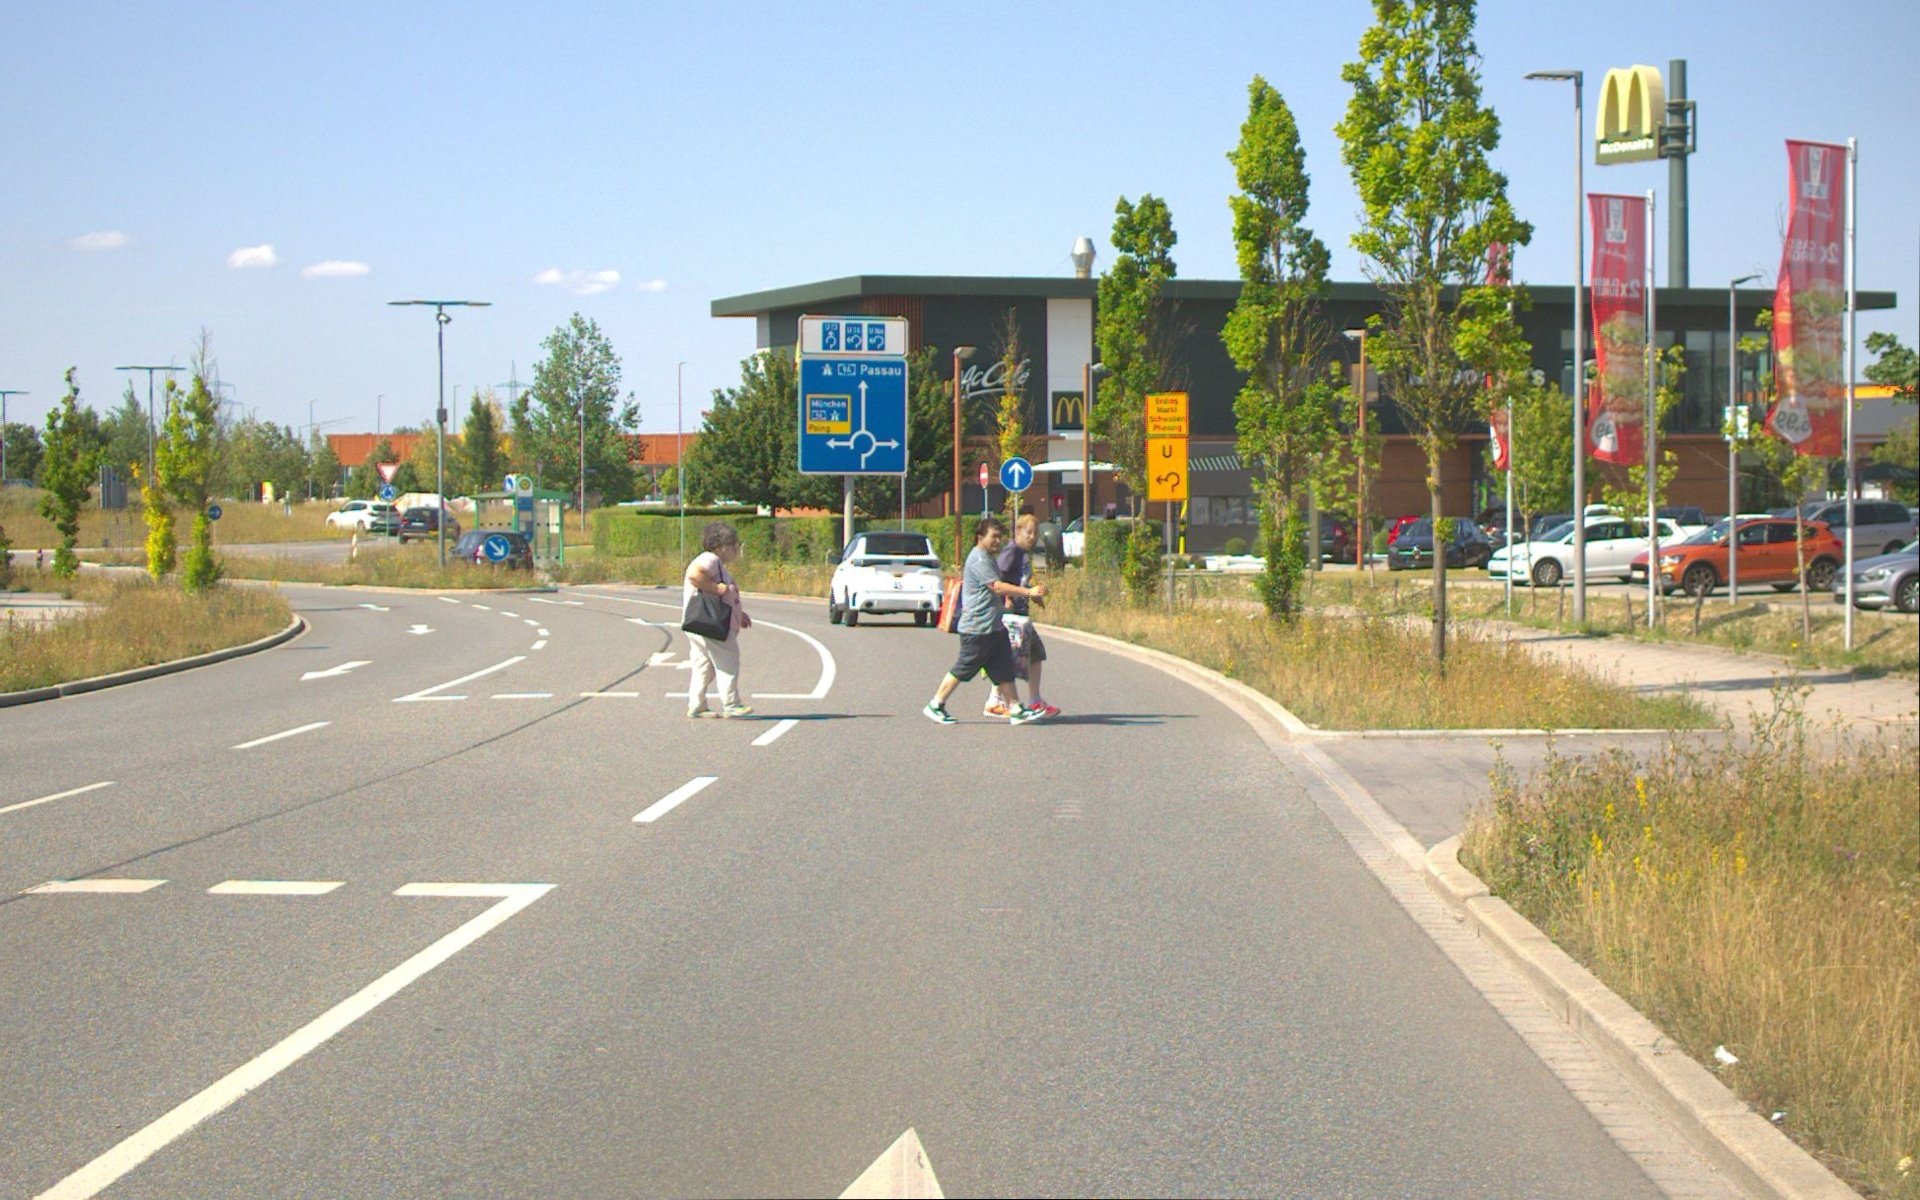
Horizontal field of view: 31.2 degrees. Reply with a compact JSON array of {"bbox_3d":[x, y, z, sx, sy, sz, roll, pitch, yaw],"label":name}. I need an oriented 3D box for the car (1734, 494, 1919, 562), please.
[{"bbox_3d":[21.310,-1.782,84.573,4.154,1.629,1.792,-1,2,-22],"label":"car"}]

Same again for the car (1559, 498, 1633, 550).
[{"bbox_3d":[21.091,-2.524,113.926,1.794,1.696,3.996,0,2,20],"label":"car"}]

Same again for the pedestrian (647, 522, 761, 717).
[{"bbox_3d":[-1.956,0.137,26.352,0.793,1.465,0.949,1,1,0],"label":"pedestrian"}]

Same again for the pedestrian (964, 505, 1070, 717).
[{"bbox_3d":[0.439,0.077,26.862,0.801,1.624,0.805,1,1,0],"label":"pedestrian"}]

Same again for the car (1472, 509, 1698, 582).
[{"bbox_3d":[13.718,-1.208,75.509,4.524,1.485,1.869,-1,2,-14],"label":"car"}]

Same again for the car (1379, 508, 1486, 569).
[{"bbox_3d":[11.815,-1.553,85.821,1.699,1.457,4.165,0,2,22],"label":"car"}]

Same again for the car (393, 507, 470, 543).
[{"bbox_3d":[-21.891,-3.109,142.563,1.994,1.435,3.999,0,2,9],"label":"car"}]

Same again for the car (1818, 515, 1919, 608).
[{"bbox_3d":[17.104,-0.691,58.350,4.554,1.485,1.869,-1,2,-10],"label":"car"}]

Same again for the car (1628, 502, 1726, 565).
[{"bbox_3d":[18.525,-1.736,88.689,1.787,1.574,4.165,0,2,22],"label":"car"}]

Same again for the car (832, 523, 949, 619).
[{"bbox_3d":[-1.123,-0.483,53.949,1.616,1.429,3.793,0,1,-5],"label":"car"}]

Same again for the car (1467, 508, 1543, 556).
[{"bbox_3d":[17.783,-2.218,112.083,1.794,1.508,3.997,0,2,19],"label":"car"}]

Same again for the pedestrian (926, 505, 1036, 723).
[{"bbox_3d":[0.153,0.098,26.136,0.809,1.622,0.866,1,1,0],"label":"pedestrian"}]

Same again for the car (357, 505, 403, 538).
[{"bbox_3d":[-26.762,-3.625,158.633,1.993,1.459,4.001,-1,2,-11],"label":"car"}]

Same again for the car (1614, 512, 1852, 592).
[{"bbox_3d":[15.318,-0.972,68.161,4.203,1.485,1.869,-1,2,-14],"label":"car"}]

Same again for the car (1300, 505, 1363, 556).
[{"bbox_3d":[11.901,-2.238,109.978,1.793,1.599,3.999,0,1,9],"label":"car"}]

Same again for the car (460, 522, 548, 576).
[{"bbox_3d":[-12.239,-1.384,92.084,1.616,1.429,3.794,-1,1,-19],"label":"car"}]
